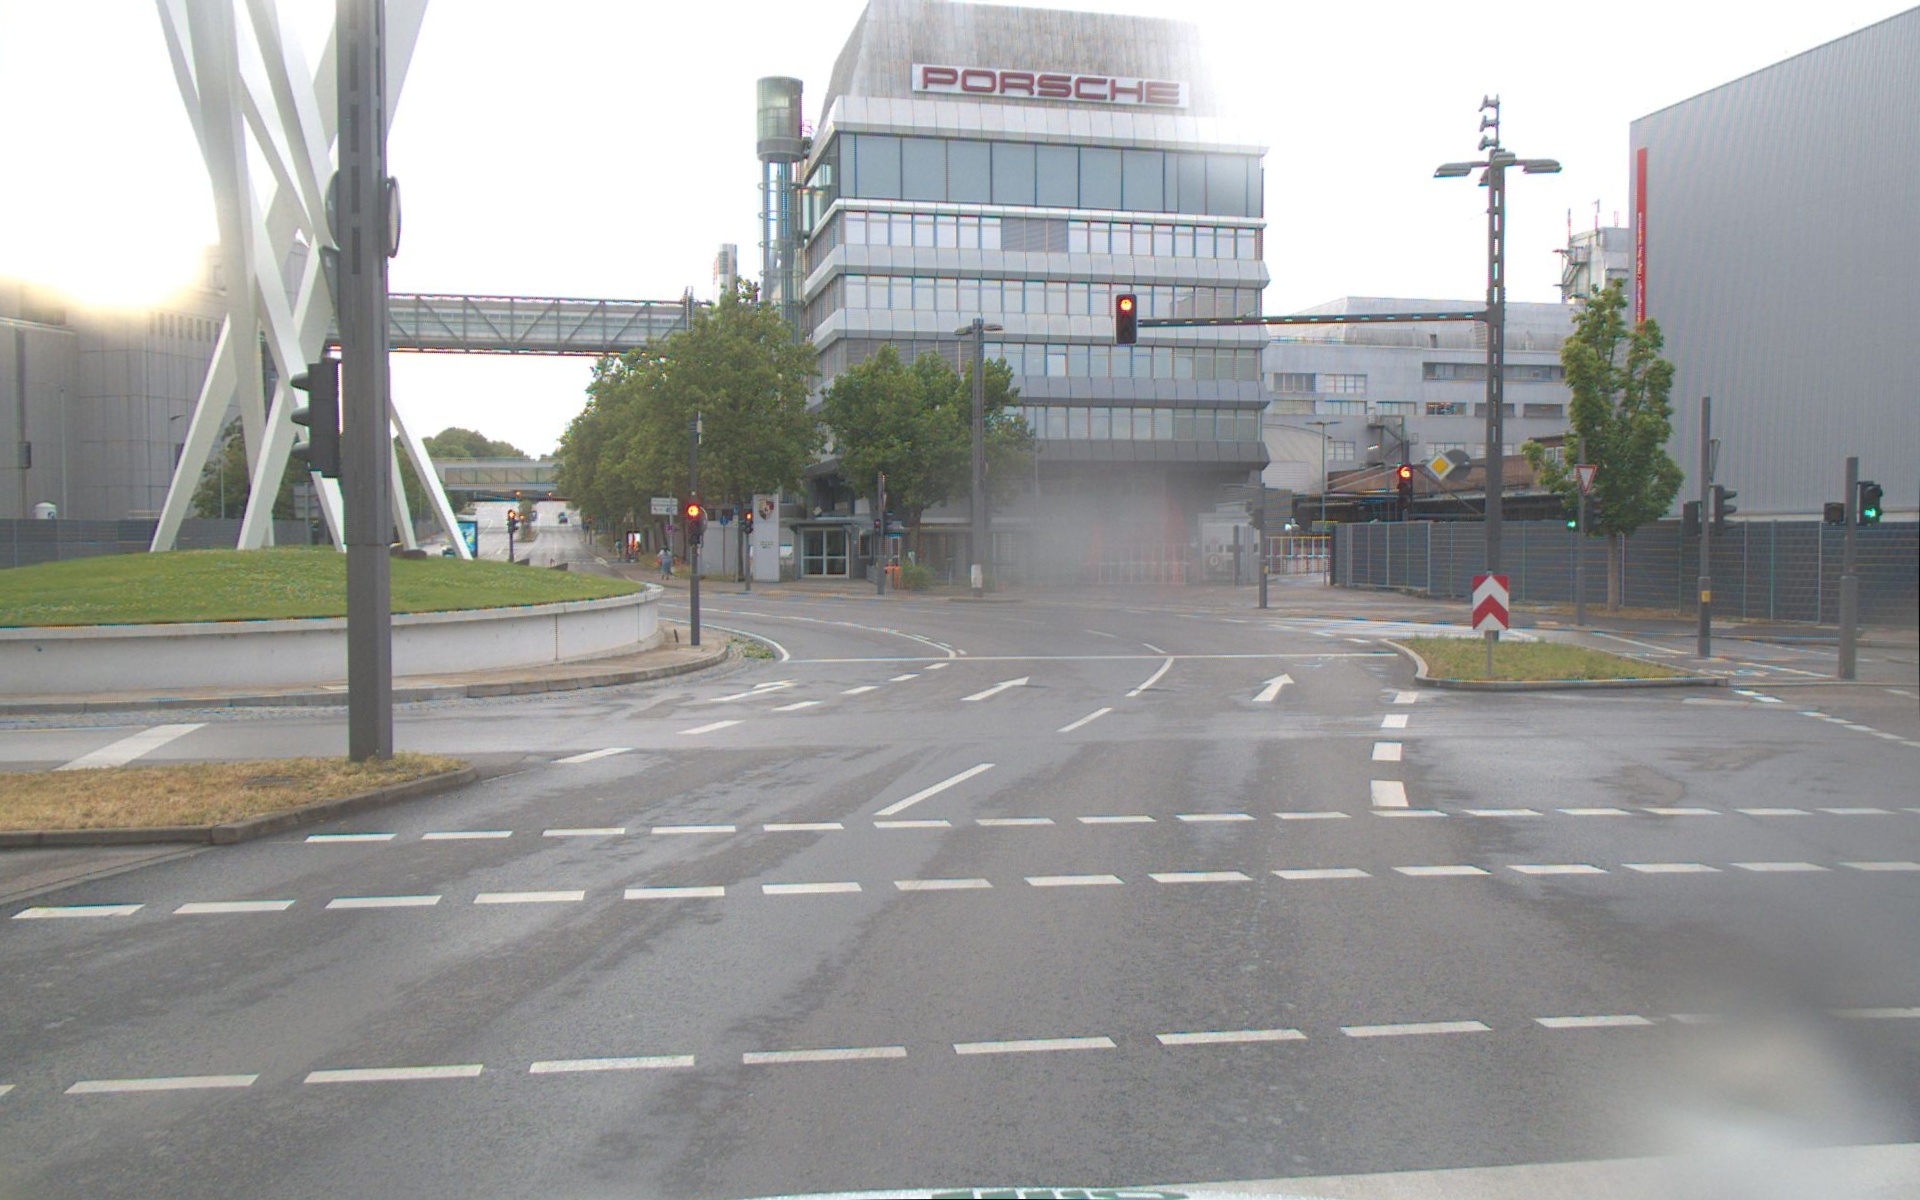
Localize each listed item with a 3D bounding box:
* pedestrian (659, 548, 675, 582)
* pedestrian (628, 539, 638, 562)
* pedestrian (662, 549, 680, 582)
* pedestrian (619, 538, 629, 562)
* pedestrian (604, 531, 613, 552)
[{"bbox_3d":[-14.238,-1.717,80.365,0.696,1.619,0.839,-1,2,-10],"label":"pedestrian"},{"bbox_3d":[-25.657,-3.873,129.912,0.744,1.770,0.712,1,-1,-10],"label":"pedestrian"},{"bbox_3d":[-13.856,-1.641,79.209,0.816,1.547,0.839,-1,2,-11],"label":"pedestrian"},{"bbox_3d":[-25.828,-3.850,127.272,0.699,1.770,0.757,1,-1,-14],"label":"pedestrian"},{"bbox_3d":[-35.149,-5.866,165.451,0.749,2.049,0.693,0,1,3],"label":"pedestrian"}]
